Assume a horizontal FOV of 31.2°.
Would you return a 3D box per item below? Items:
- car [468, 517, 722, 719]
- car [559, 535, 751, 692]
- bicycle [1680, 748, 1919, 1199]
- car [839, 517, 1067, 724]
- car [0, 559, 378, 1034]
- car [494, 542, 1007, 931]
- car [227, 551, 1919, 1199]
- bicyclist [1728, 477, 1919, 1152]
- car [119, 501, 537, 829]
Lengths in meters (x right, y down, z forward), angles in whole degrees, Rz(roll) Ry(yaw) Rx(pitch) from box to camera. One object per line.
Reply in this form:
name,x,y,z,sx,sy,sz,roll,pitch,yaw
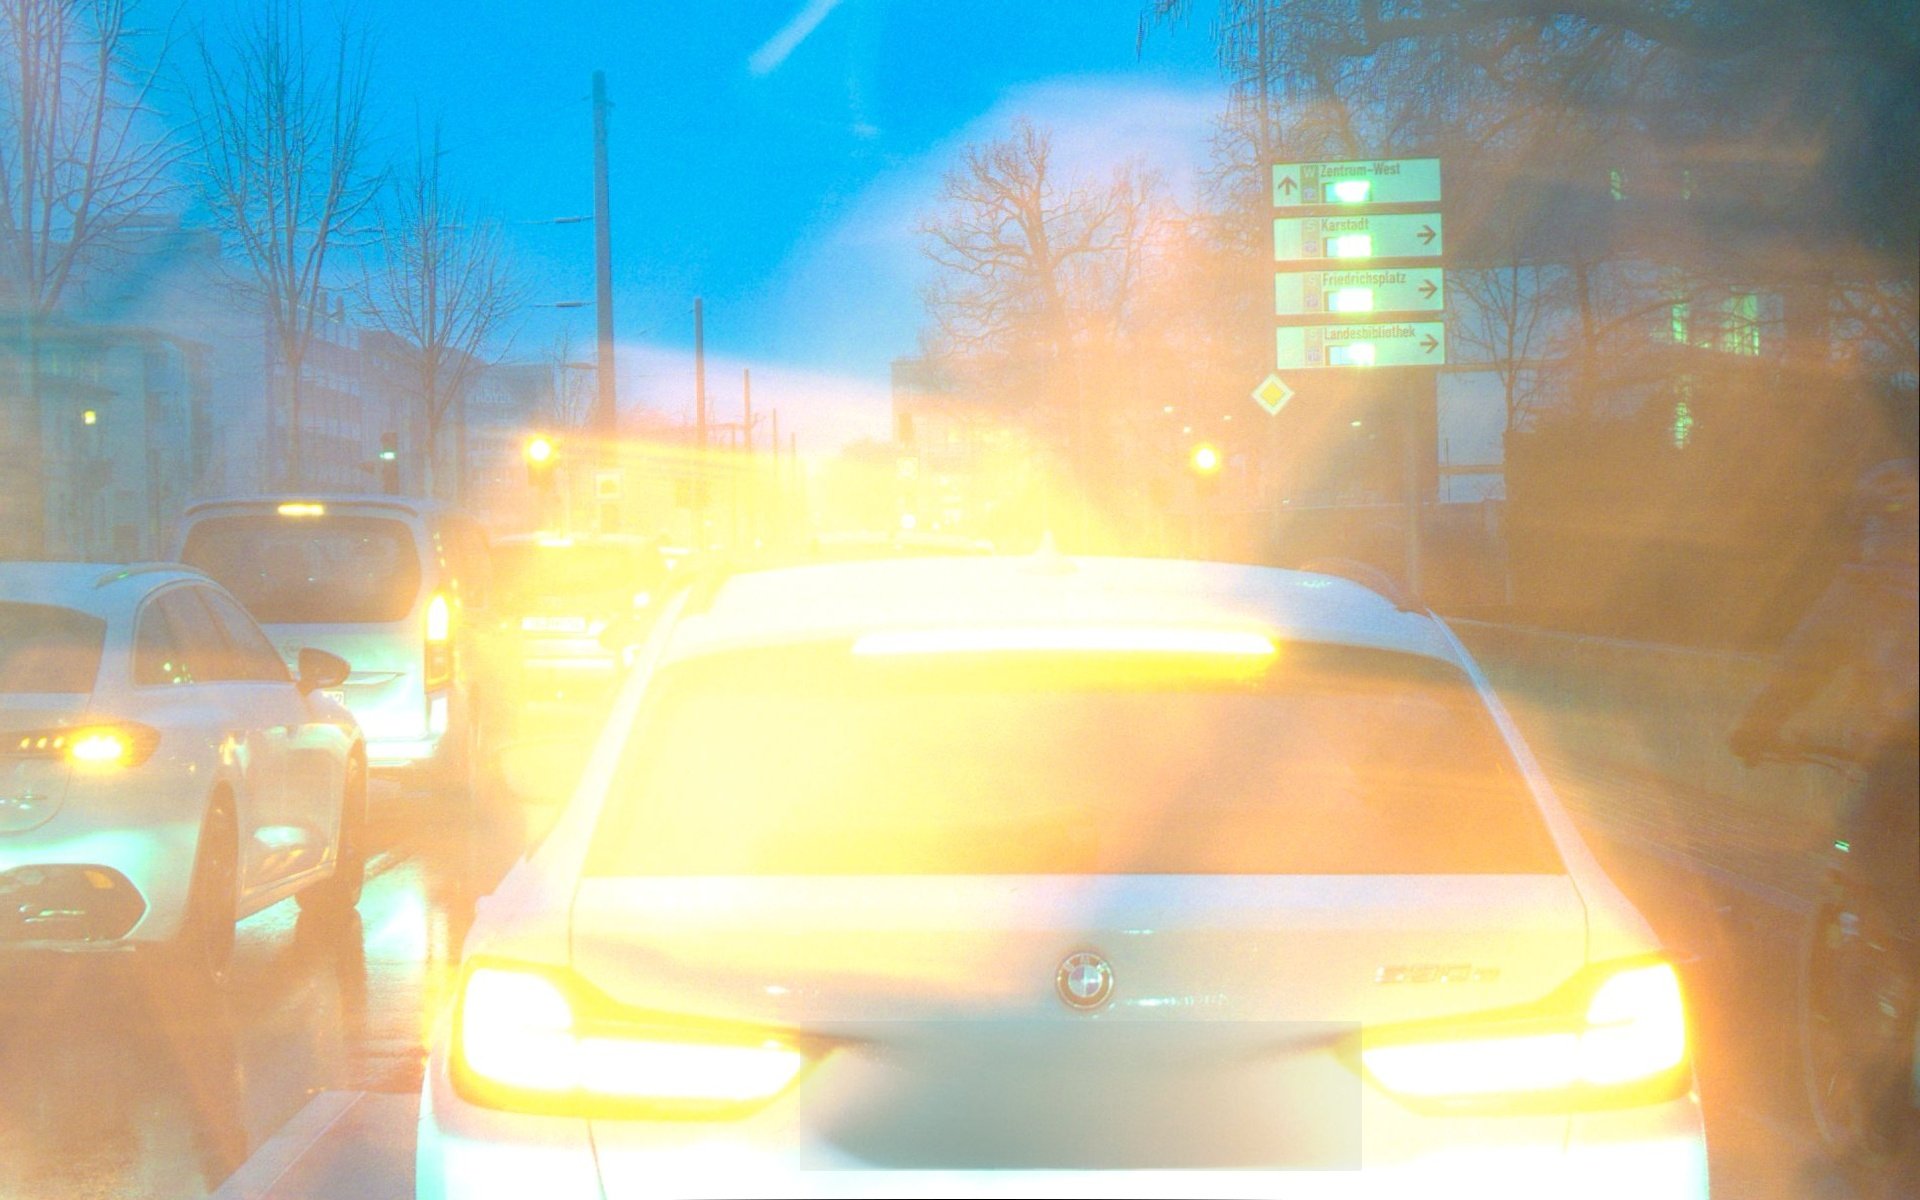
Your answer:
car,-3.093,0.104,29.839,1.806,1.640,4.000,0,1,0
car,-3.333,0.105,38.210,1.806,1.640,4.000,0,1,0
bicycle,2.106,0.878,7.594,0.645,0.963,2.046,-1,1,2
car,-0.073,0.123,29.308,1.806,1.640,4.000,0,1,0
car,-3.368,0.558,12.505,1.846,1.400,4.614,0,1,-2
car,-0.816,0.482,15.119,1.936,1.452,4.164,0,1,-1
car,0.120,0.682,6.136,1.999,1.503,4.164,0,1,-1
bicyclist,2.096,0.428,7.498,0.645,1.384,0.890,-1,1,2
car,-3.621,0.317,20.450,1.793,1.730,4.538,0,1,-2
